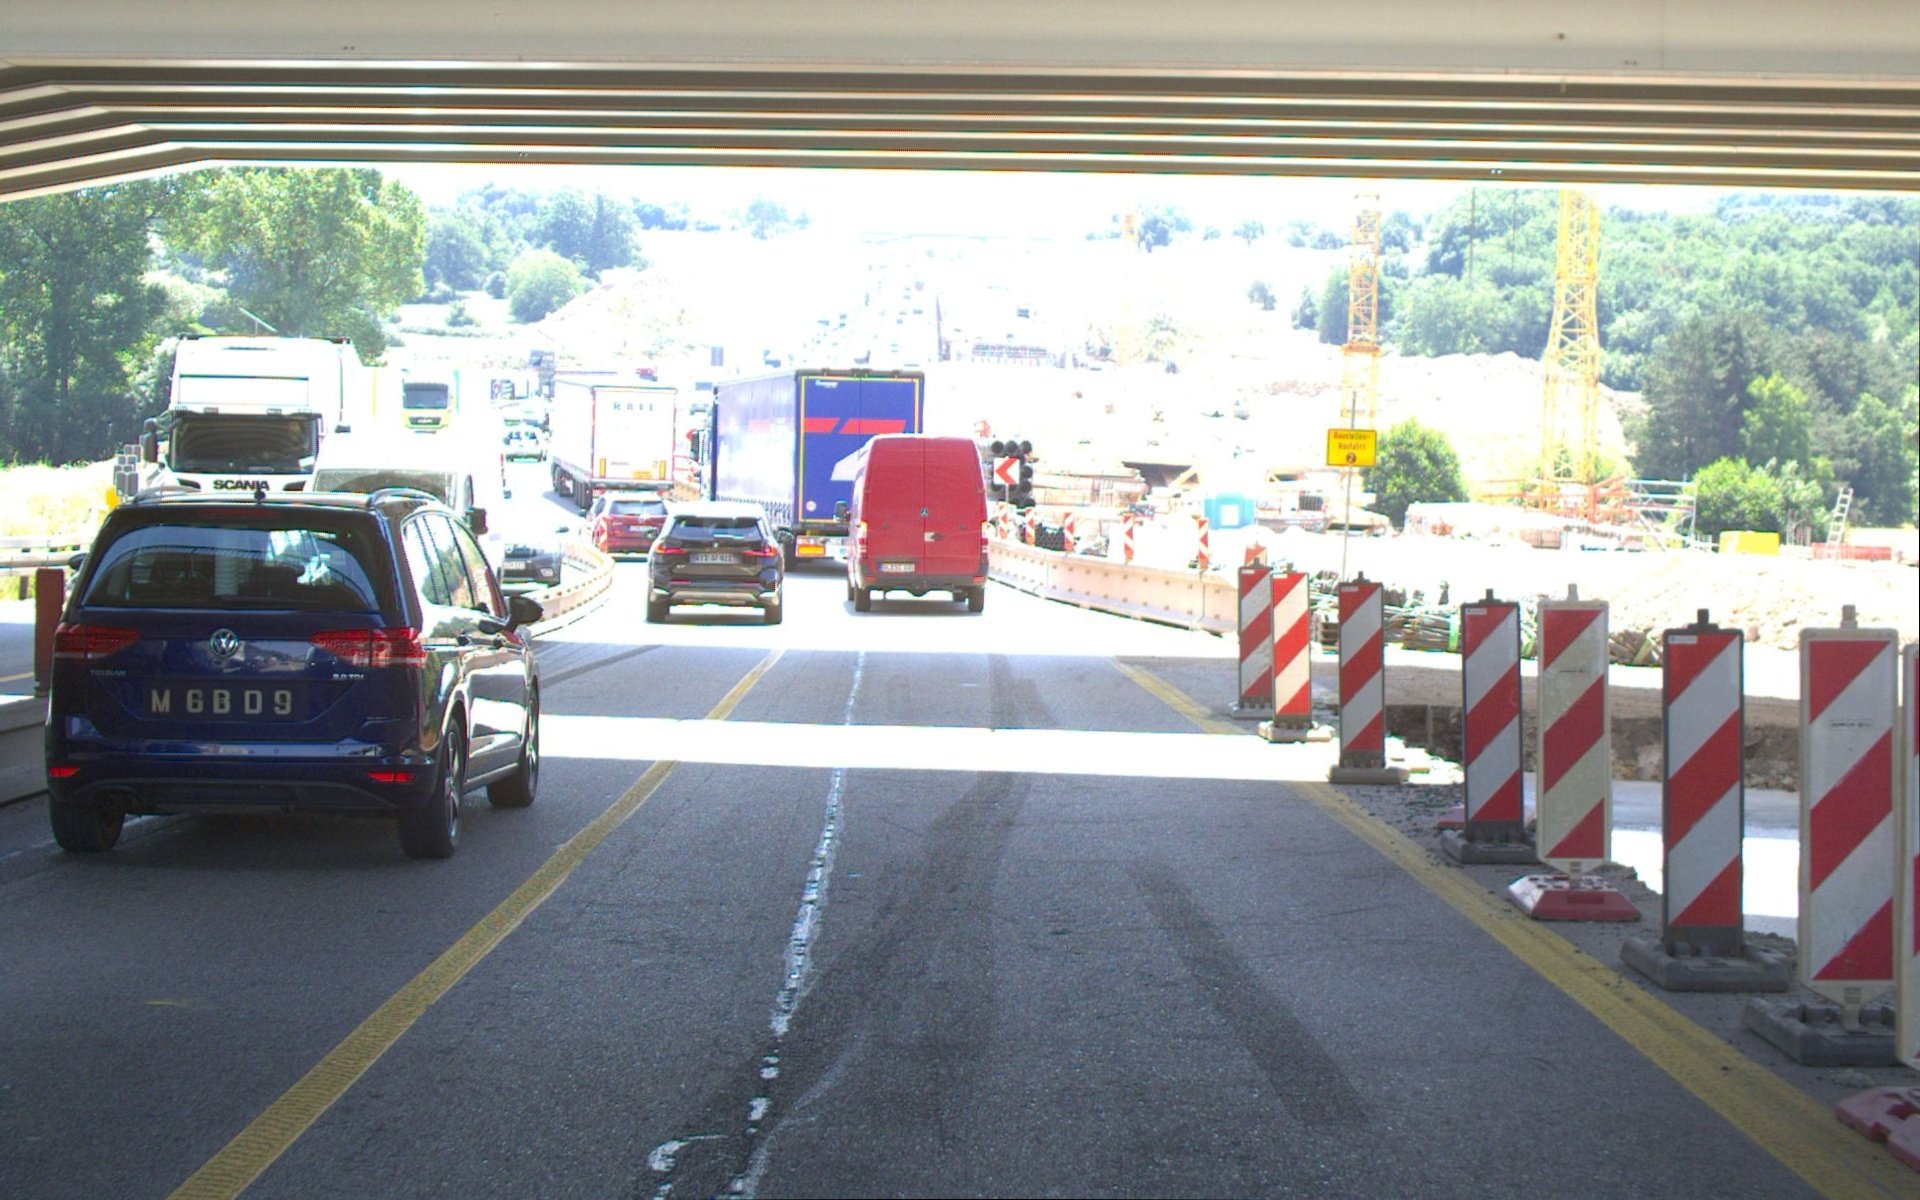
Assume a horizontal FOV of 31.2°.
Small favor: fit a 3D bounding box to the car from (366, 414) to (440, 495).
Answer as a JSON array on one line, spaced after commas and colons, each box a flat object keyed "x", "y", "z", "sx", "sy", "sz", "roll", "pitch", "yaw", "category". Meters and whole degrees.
[{"x": -18.138, "y": -4.698, "z": 111.748, "sx": 2.070, "sy": 2.495, "sz": 6.486, "roll": 1, "pitch": 1, "yaw": -12, "category": "car"}]

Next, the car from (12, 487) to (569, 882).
[{"x": -3.065, "y": 0.299, "z": 16.639, "sx": 1.734, "sy": 1.630, "sz": 4.390, "roll": 1, "pitch": 1, "yaw": 1, "category": "car"}]

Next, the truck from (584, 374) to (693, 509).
[{"x": -10.014, "y": -4.963, "z": 106.535, "sx": 3.181, "sy": 3.975, "sz": 6.744, "roll": 1, "pitch": 4, "yaw": -7, "category": "truck"}]

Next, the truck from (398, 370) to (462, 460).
[{"x": -26.114, "y": -9.149, "z": 169.665, "sx": 2.625, "sy": 4.255, "sz": 4.733, "roll": 2, "pitch": 3, "yaw": -4, "category": "truck"}]

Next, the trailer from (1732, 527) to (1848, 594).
[{"x": 20.201, "y": -0.971, "z": 83.842, "sx": 1.623, "sy": 1.481, "sz": 3.827, "roll": 2, "pitch": 2, "yaw": -4, "category": "trailer"}]

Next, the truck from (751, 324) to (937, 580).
[{"x": -2.458, "y": -3.090, "z": 70.333, "sx": 2.944, "sy": 4.928, "sz": 6.744, "roll": 1, "pitch": 4, "yaw": -9, "category": "truck"}]

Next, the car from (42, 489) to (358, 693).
[{"x": -6.443, "y": -0.115, "z": 29.562, "sx": 1.748, "sy": 1.604, "sz": 4.141, "roll": 1, "pitch": 1, "yaw": 0, "category": "car"}]

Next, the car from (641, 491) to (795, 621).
[{"x": -3.285, "y": -0.642, "z": 47.267, "sx": 1.833, "sy": 1.629, "sz": 4.390, "roll": 1, "pitch": 2, "yaw": -1, "category": "car"}]

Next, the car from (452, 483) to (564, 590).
[{"x": -7.487, "y": -1.088, "z": 57.156, "sx": 1.746, "sy": 1.665, "sz": 4.080, "roll": 1, "pitch": 2, "yaw": -6, "category": "car"}]

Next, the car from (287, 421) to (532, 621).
[{"x": -6.868, "y": -0.997, "z": 43.561, "sx": 1.980, "sy": 2.322, "sz": 6.058, "roll": 1, "pitch": 1, "yaw": 1, "category": "car"}]

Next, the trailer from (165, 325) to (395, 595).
[{"x": -11.633, "y": -2.412, "z": 60.059, "sx": 2.876, "sy": 4.026, "sz": 14.363, "roll": 2, "pitch": 2, "yaw": -8, "category": "trailer"}]

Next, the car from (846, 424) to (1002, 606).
[{"x": -0.621, "y": -1.250, "z": 52.884, "sx": 2.149, "sy": 2.602, "sz": 5.439, "roll": 1, "pitch": 0, "yaw": -3, "category": "car"}]

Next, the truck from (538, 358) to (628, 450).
[{"x": -16.133, "y": -8.297, "z": 146.644, "sx": 3.218, "sy": 3.349, "sz": 8.943, "roll": 1, "pitch": 0, "yaw": -10, "category": "truck"}]

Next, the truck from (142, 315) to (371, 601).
[{"x": -10.655, "y": -2.150, "z": 52.494, "sx": 2.873, "sy": 4.037, "sz": 4.887, "roll": 2, "pitch": 2, "yaw": -7, "category": "truck"}]

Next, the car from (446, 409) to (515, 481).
[{"x": -16.830, "y": -5.473, "z": 120.940, "sx": 2.264, "sy": 2.346, "sz": 5.162, "roll": 1, "pitch": 4, "yaw": -7, "category": "car"}]

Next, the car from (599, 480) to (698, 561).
[{"x": -6.892, "y": -1.768, "z": 75.700, "sx": 1.833, "sy": 1.629, "sz": 4.107, "roll": 1, "pitch": 3, "yaw": -10, "category": "car"}]
